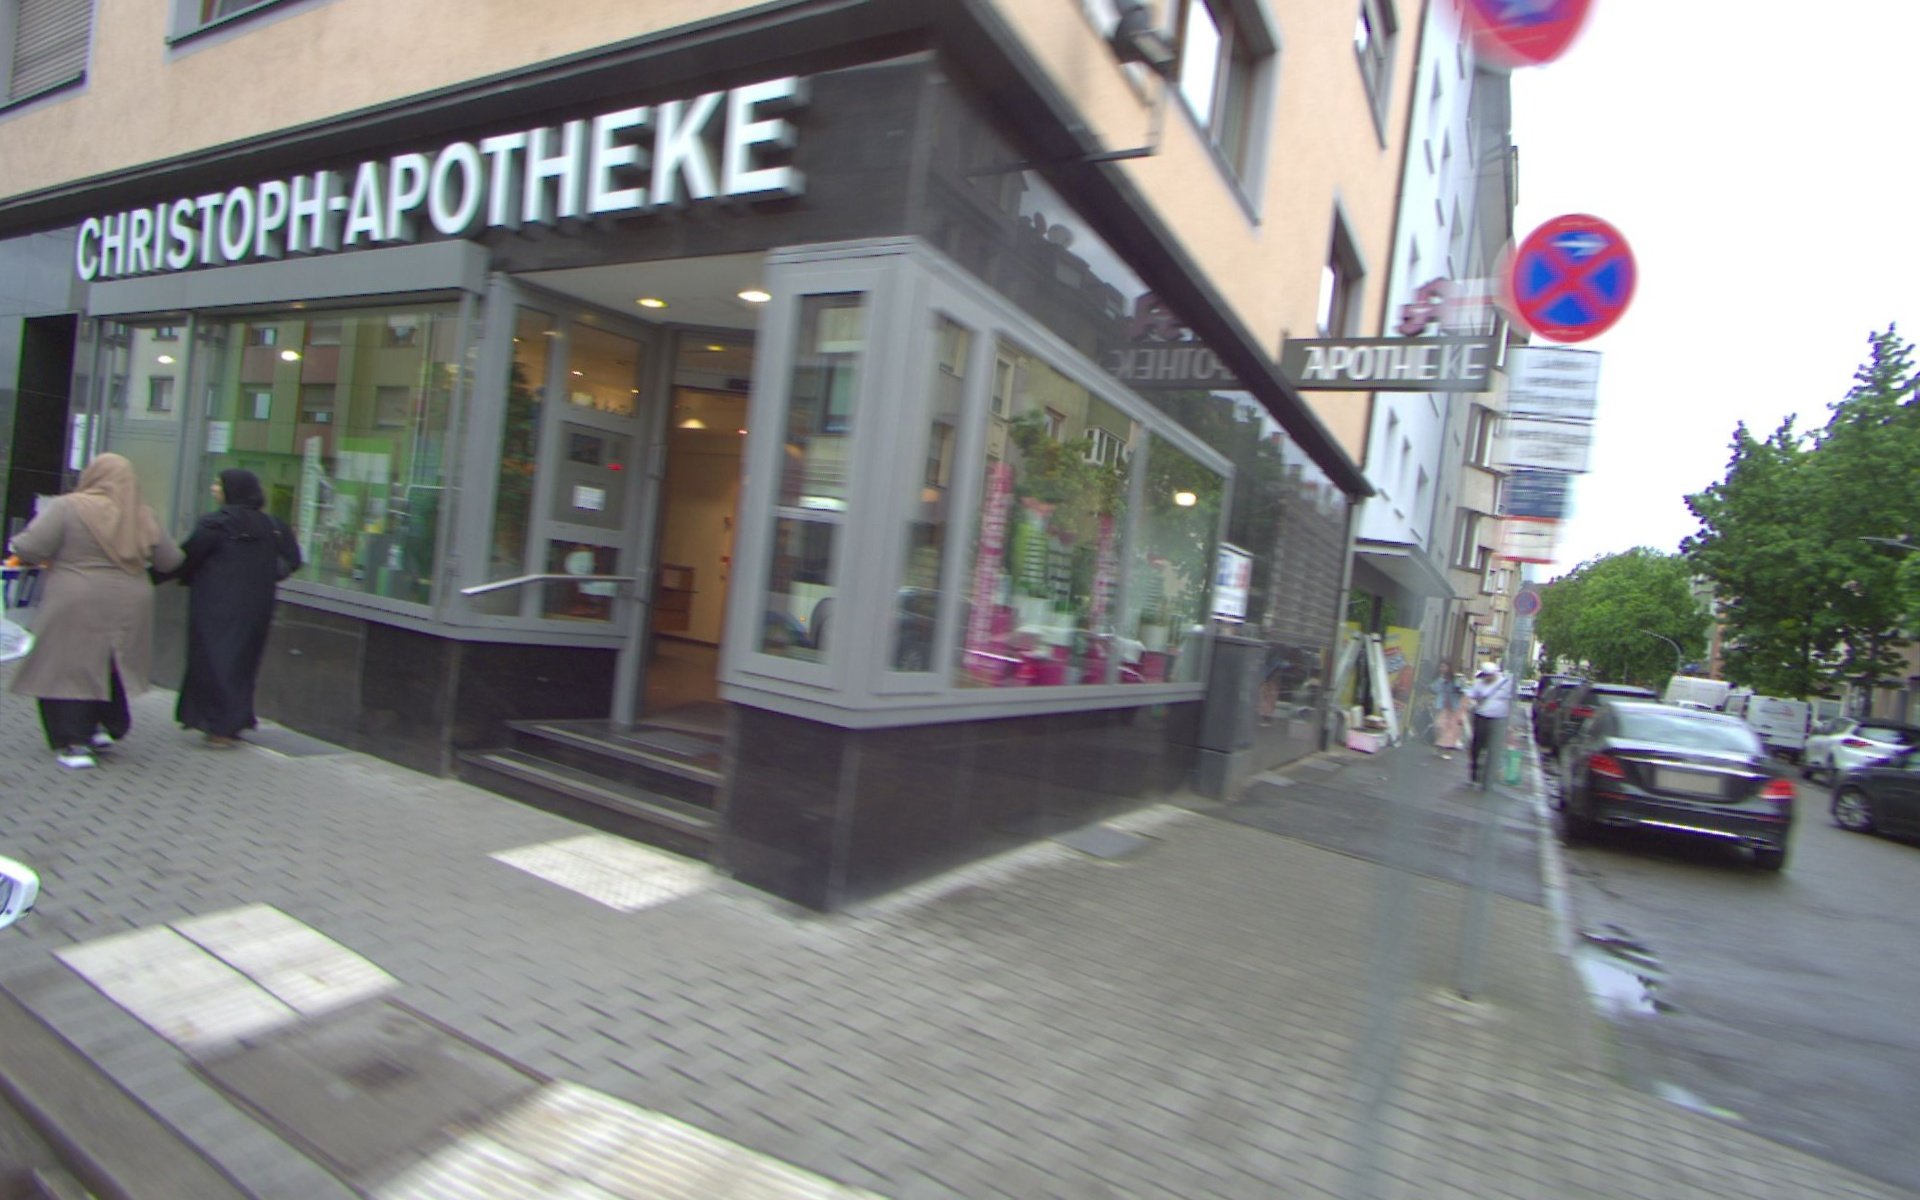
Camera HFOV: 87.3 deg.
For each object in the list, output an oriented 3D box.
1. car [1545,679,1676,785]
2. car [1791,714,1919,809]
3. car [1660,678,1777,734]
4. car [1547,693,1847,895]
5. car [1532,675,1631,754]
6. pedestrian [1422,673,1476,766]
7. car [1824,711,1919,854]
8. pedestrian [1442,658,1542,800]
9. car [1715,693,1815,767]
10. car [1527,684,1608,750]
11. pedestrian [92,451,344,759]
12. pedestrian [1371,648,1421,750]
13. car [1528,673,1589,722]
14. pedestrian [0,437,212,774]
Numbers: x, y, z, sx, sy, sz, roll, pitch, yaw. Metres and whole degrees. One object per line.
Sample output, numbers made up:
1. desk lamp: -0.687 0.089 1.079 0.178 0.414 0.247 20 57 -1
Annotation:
1. car: 13.118 2.590 20.503 1.662 1.650 3.725 8 1 27
2. car: 20.596 3.611 22.830 1.840 1.578 4.072 8 1 30
3. car: 37.181 5.155 49.407 3.924 2.039 2.000 7 1 8
4. car: 7.716 1.898 10.996 1.839 1.369 4.075 8 0 27
5. car: 15.983 2.888 26.026 1.662 1.588 3.725 8 1 27
6. pedestrian: 7.988 1.936 16.427 0.615 1.392 0.691 8 2 26
7. car: 12.828 2.448 12.000 1.771 1.638 4.024 7 0 8
8. pedestrian: 7.021 1.669 13.326 0.937 1.688 0.859 8 2 26
9. car: 27.179 4.333 34.091 1.840 1.985 4.072 8 1 30
10. car: 18.602 3.529 30.929 1.662 1.588 3.725 8 1 27
11. pedestrian: -4.267 0.021 5.804 0.861 1.579 0.769 8 2 29
12. pedestrian: 7.703 1.737 17.780 0.583 1.704 0.537 8 2 27
13. car: 24.120 3.894 40.626 1.662 1.588 3.725 8 1 27
14. pedestrian: -4.594 0.015 5.224 0.769 1.579 0.779 8 2 29
